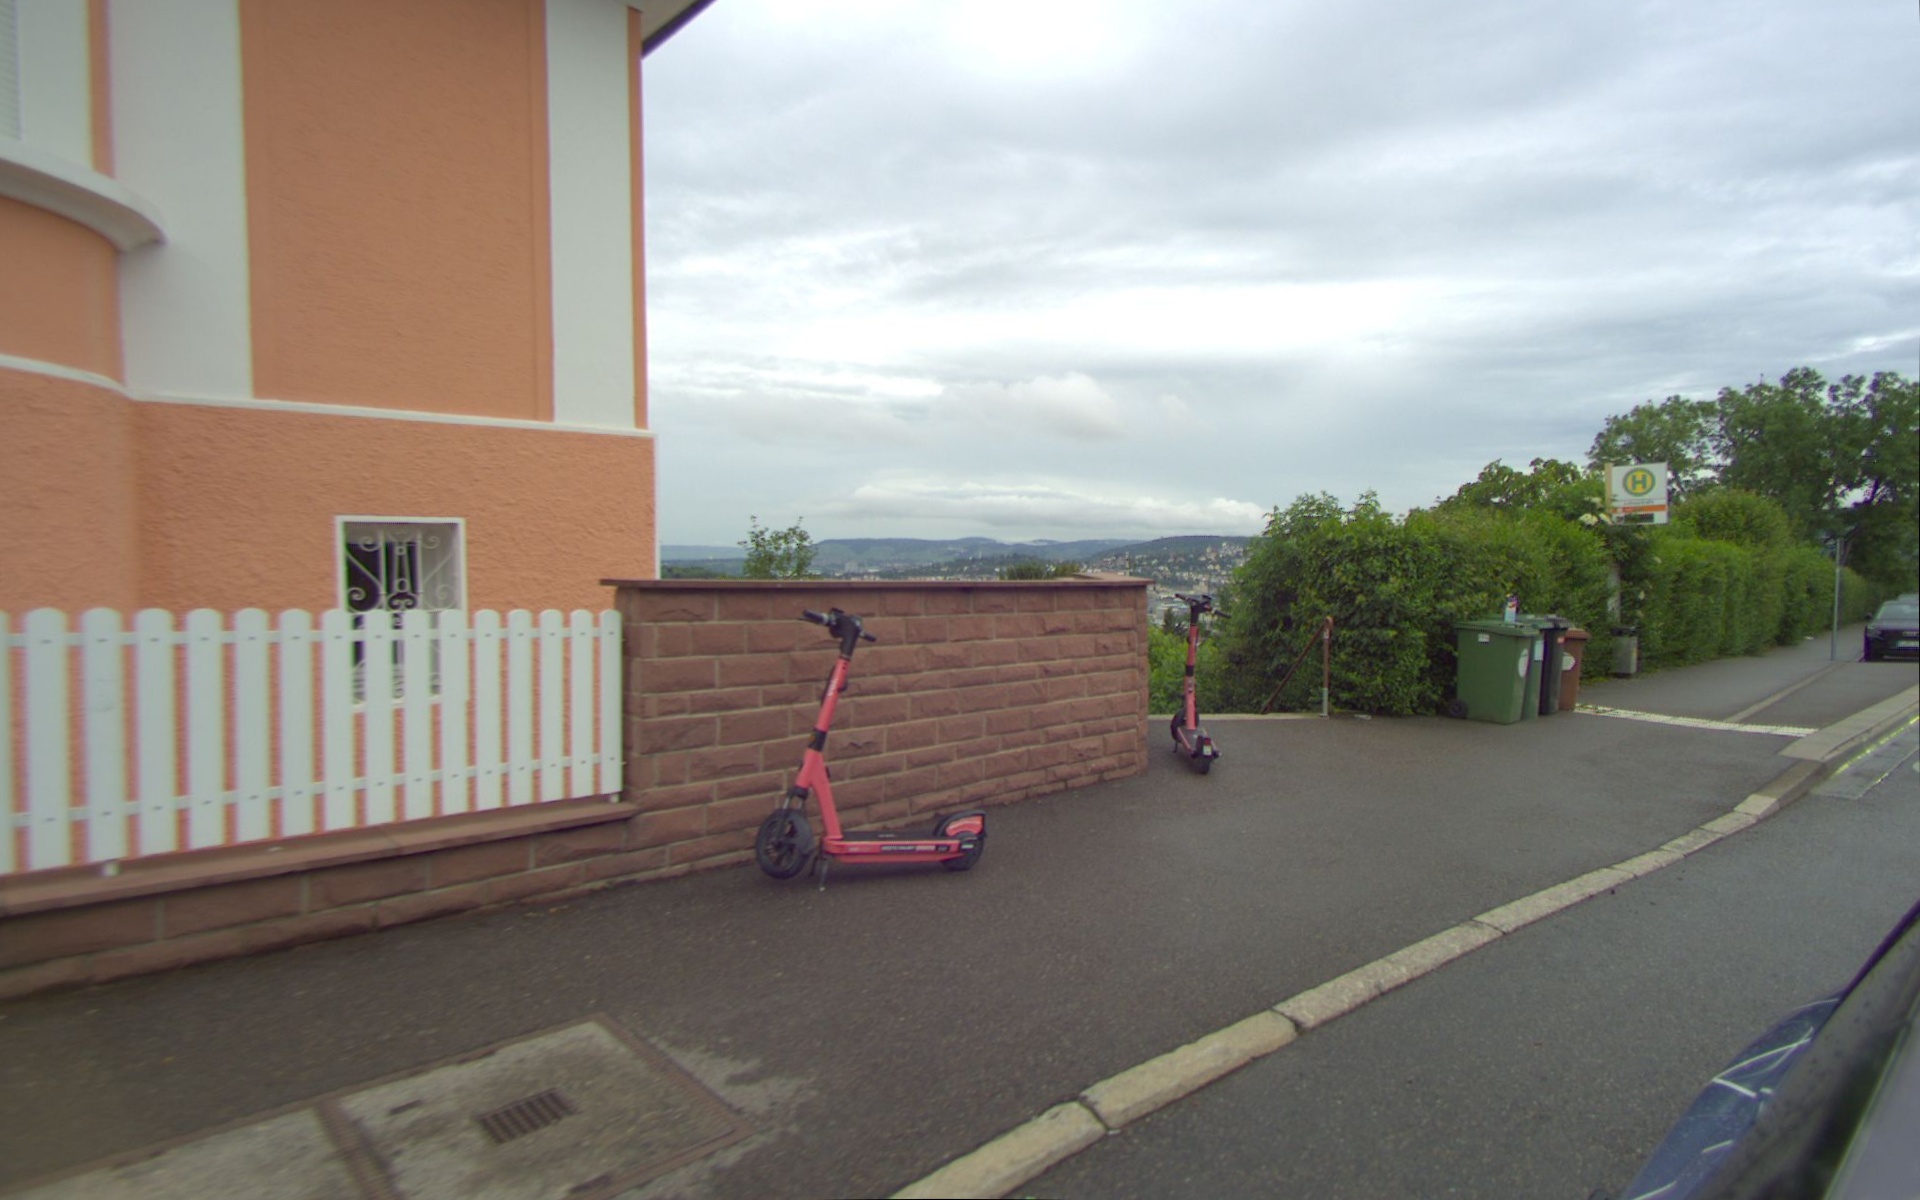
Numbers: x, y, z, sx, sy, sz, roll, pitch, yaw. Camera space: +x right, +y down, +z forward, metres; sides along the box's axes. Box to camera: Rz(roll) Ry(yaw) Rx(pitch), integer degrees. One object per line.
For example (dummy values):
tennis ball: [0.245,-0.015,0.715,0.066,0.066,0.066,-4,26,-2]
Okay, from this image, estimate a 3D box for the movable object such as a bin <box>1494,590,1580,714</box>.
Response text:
movable object such as a bin: [6.130,0.524,10.746,0.672,1.261,0.613,0,0,-41]

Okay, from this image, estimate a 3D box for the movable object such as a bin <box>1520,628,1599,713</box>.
movable object such as a bin: [6.625,0.761,11.187,0.579,0.874,0.613,0,0,-41]

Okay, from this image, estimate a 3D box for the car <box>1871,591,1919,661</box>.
car: [23.835,0.595,24.882,3.935,1.606,1.925,-1,1,-45]

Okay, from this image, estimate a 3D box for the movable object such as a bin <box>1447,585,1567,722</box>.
movable object such as a bin: [5.519,0.503,10.211,0.901,1.261,0.726,0,4,-41]

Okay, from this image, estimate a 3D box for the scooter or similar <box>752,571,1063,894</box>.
scooter or similar: [-0.238,0.574,4.856,1.447,1.420,0.357,0,0,-20]

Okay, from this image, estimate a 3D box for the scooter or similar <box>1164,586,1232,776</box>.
scooter or similar: [1.790,0.556,7.703,0.350,1.288,1.292,0,2,7]
